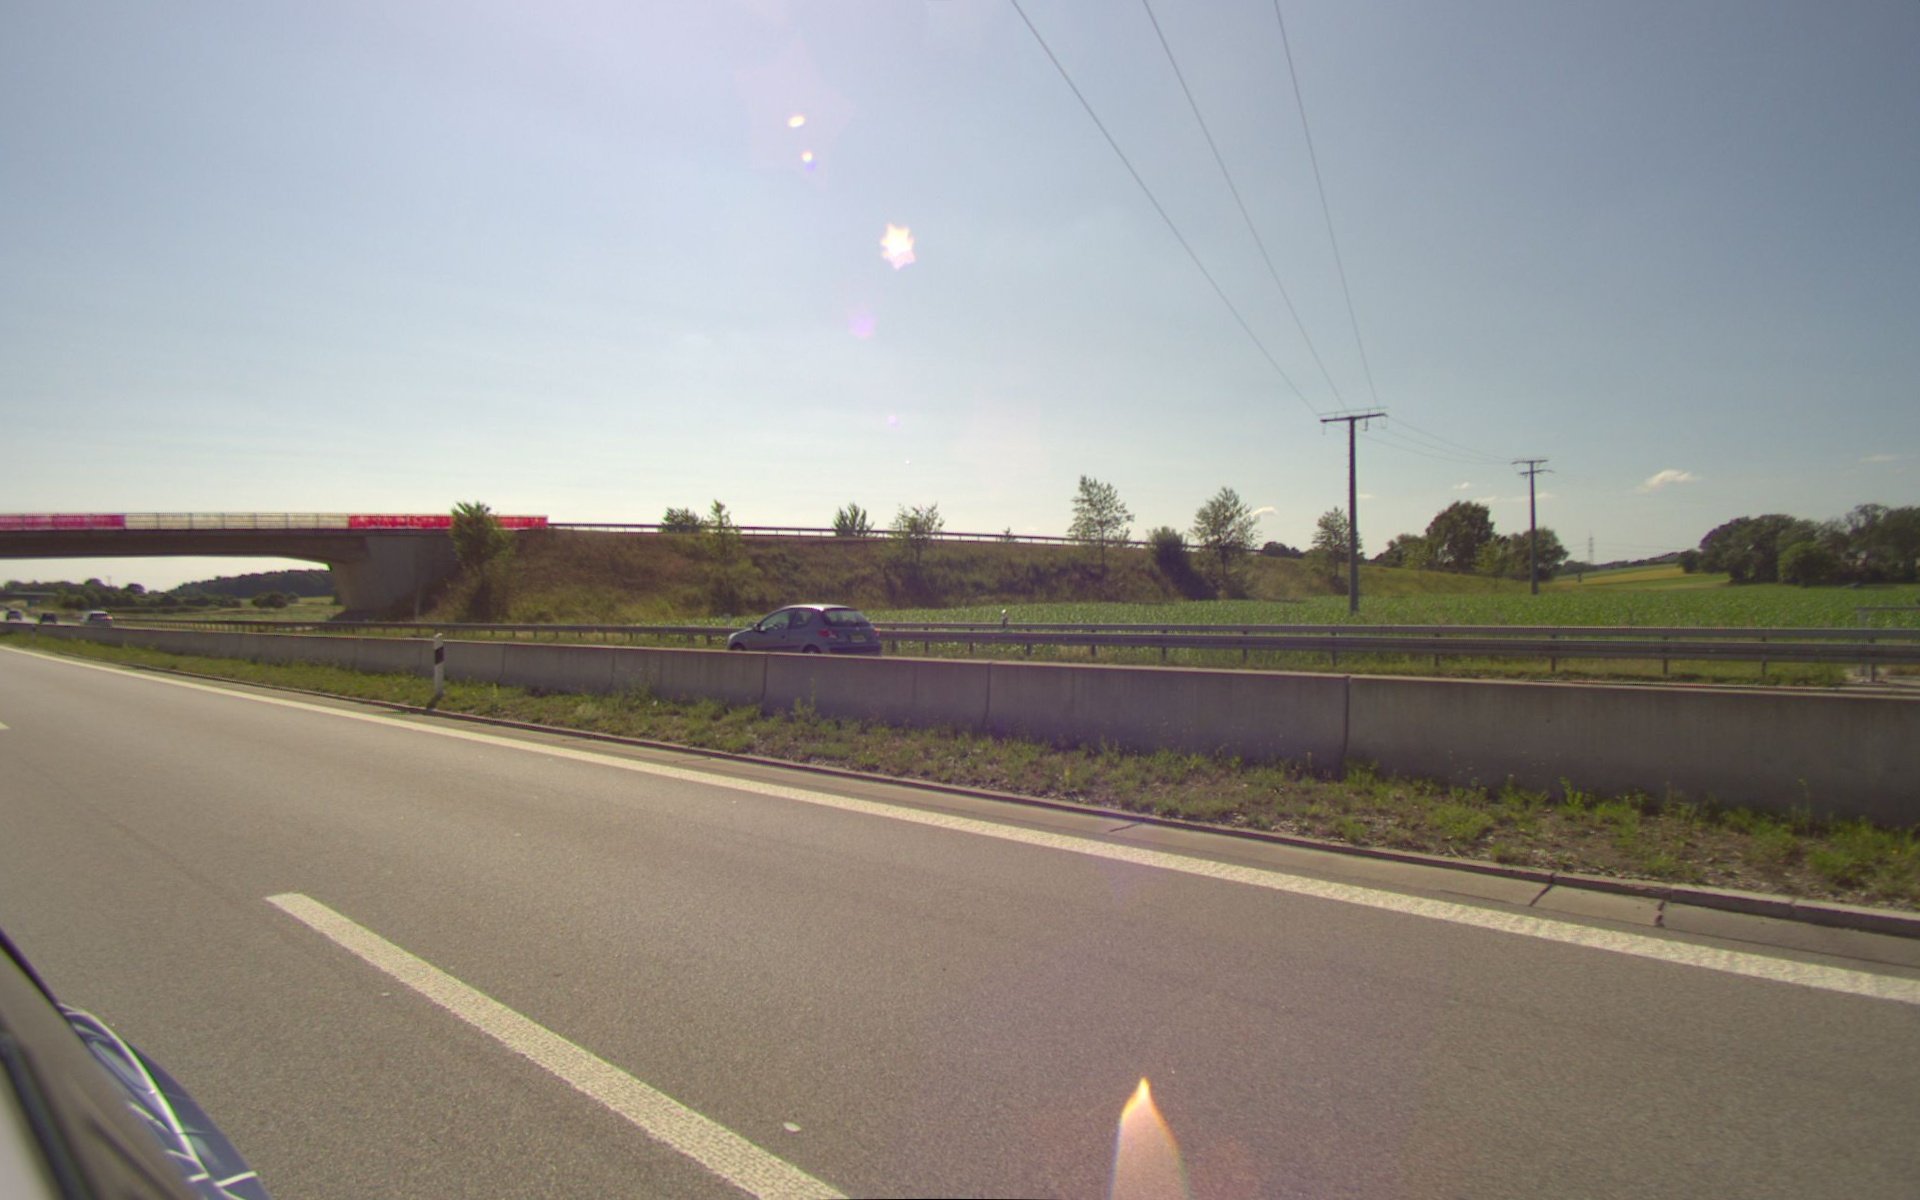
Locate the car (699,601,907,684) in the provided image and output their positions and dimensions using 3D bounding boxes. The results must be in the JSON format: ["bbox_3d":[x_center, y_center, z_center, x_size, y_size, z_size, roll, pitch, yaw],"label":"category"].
[{"bbox_3d":[-3.435,0.851,21.634,4.583,1.525,1.840,-1,1,41],"label":"car"}]

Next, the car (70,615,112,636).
[{"bbox_3d":[-70.912,2.028,82.584,4.895,1.590,1.972,0,1,42],"label":"car"}]

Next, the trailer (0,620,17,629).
[{"bbox_3d":[-150.126,3.848,159.359,4.262,1.267,1.972,-1,0,43],"label":"trailer"}]

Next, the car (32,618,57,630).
[{"bbox_3d":[-111.827,2.889,123.556,4.194,1.471,1.835,-1,0,42],"label":"car"}]
